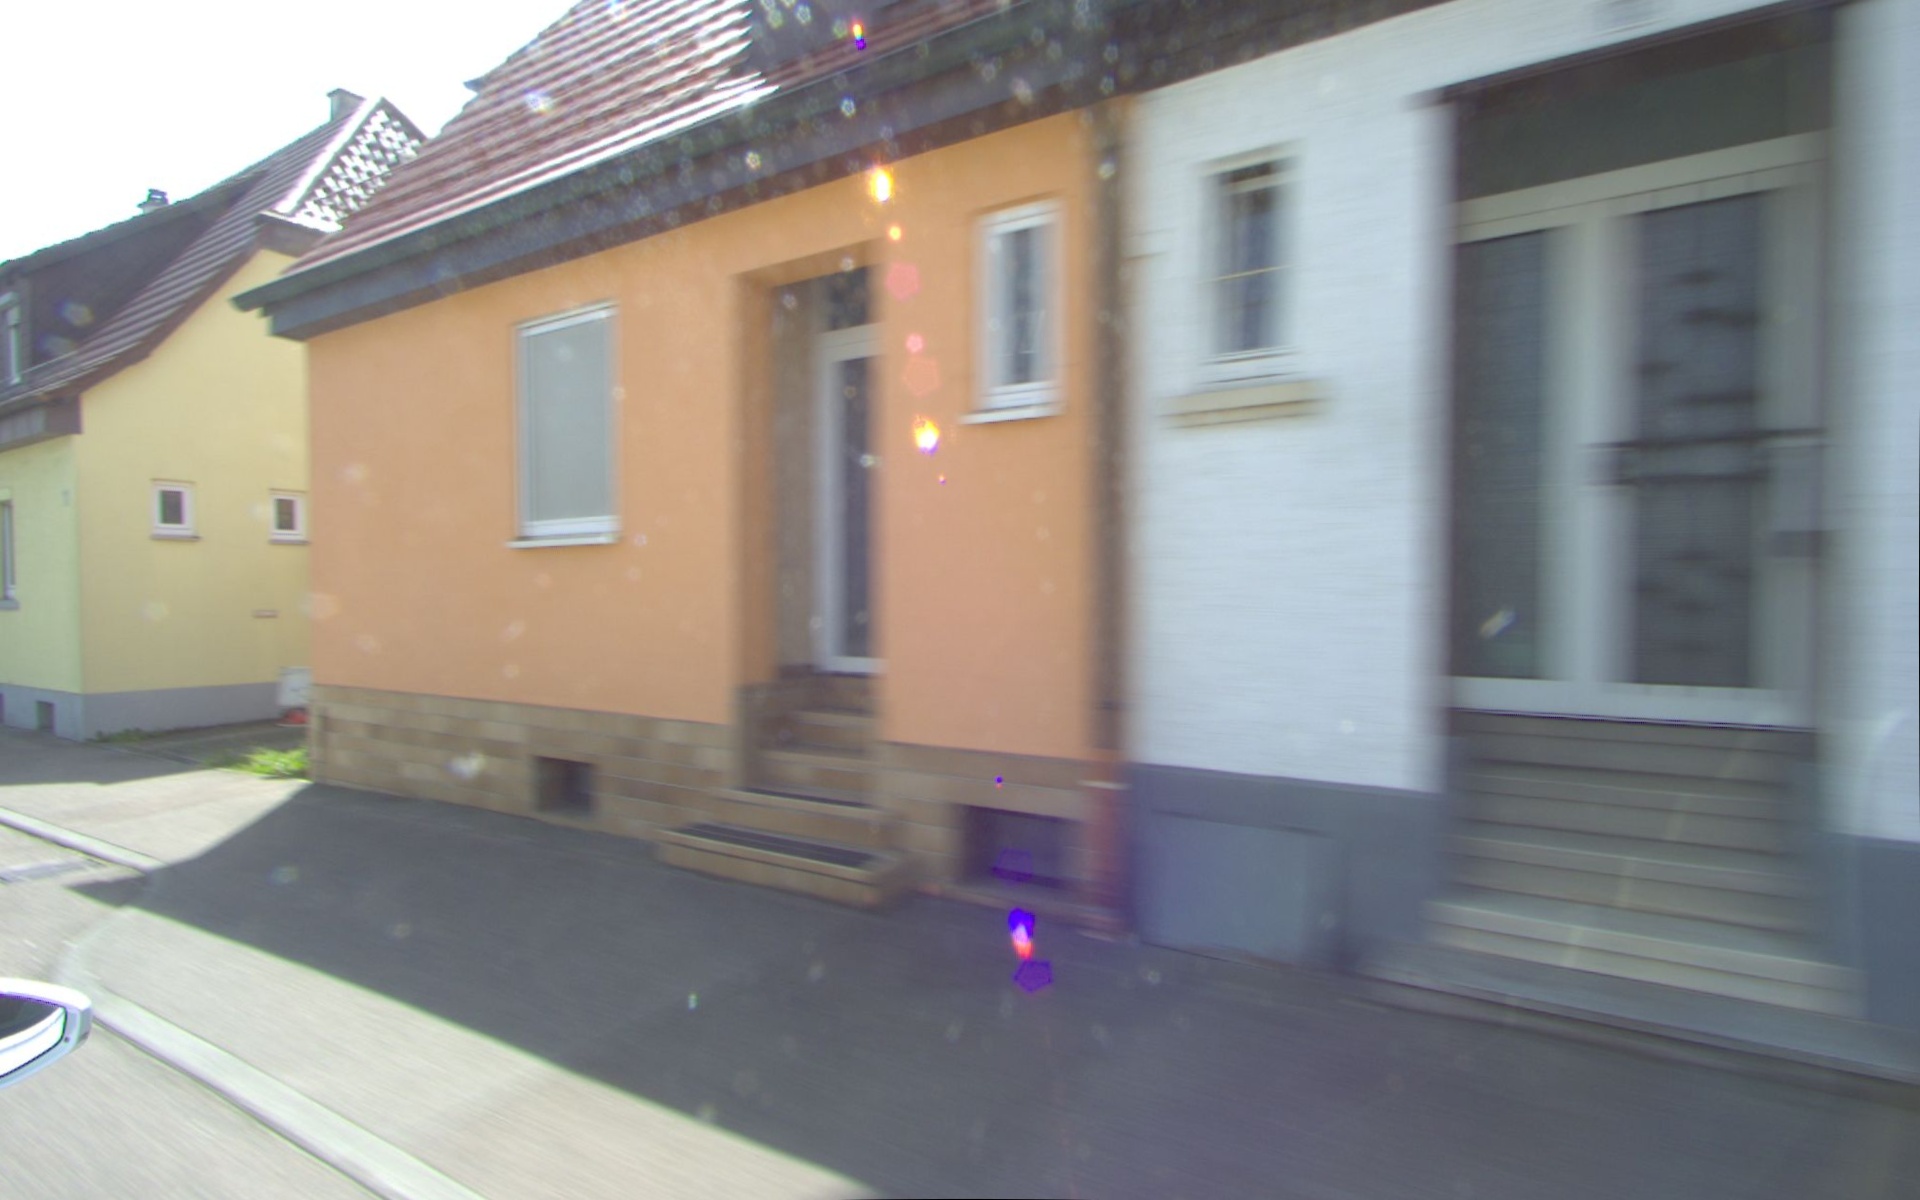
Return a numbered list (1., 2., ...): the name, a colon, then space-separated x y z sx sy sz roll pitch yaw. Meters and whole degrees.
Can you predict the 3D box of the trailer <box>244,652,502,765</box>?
1. trailer: -5.697 1.014 9.947 1.218 0.911 2.142 0 0 3
